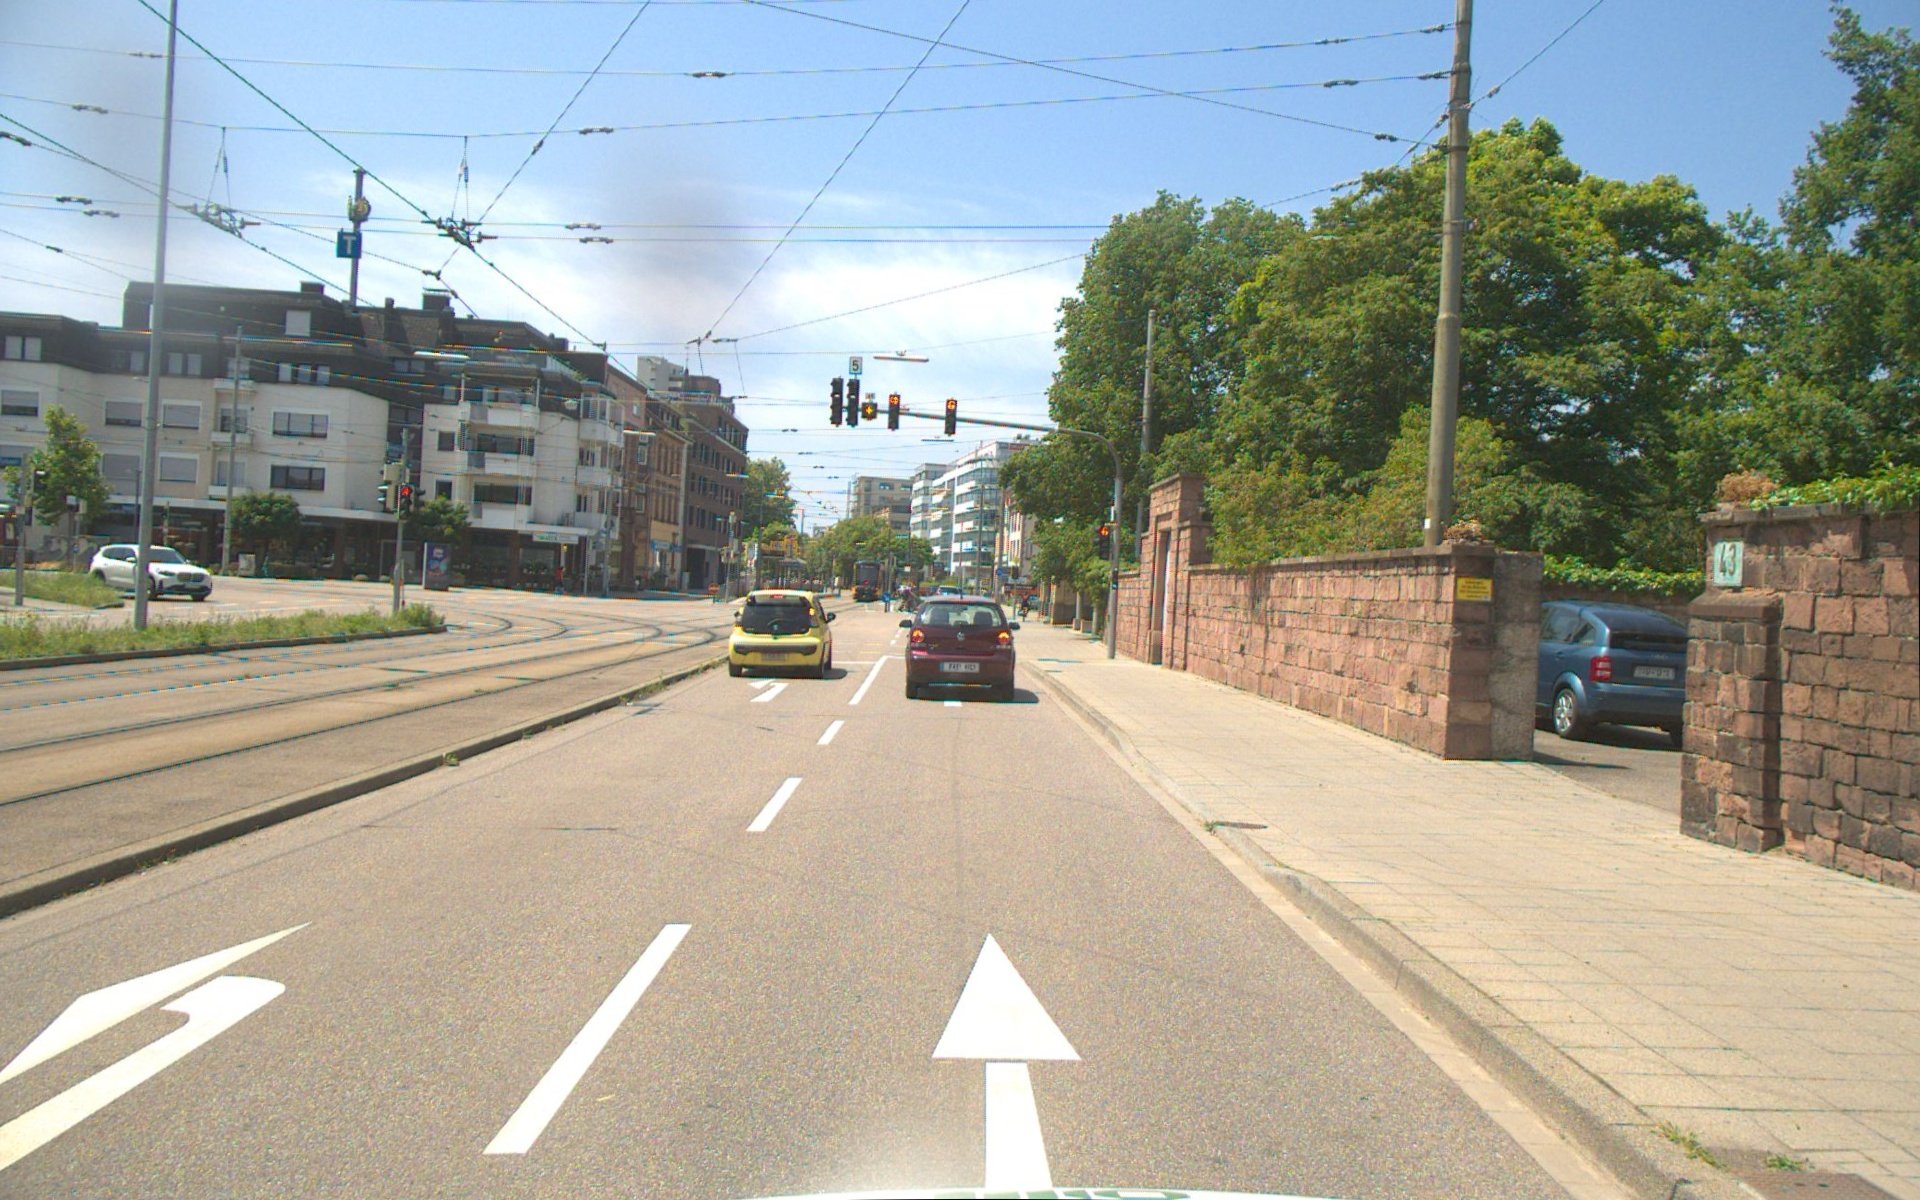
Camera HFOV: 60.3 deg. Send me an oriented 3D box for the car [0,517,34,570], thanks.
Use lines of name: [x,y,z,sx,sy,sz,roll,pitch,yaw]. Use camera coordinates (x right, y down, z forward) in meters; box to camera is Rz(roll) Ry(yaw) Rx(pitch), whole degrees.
car: [-46.606,-2.690,77.608,4.962,2.382,2.244,2,-1,-2]

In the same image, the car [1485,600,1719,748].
car: [7.512,0.810,19.618,1.451,1.508,2.943,3,0,-3]

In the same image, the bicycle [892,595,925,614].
bicycle: [-2.945,0.272,94.858,1.829,1.025,0.578,2,-1,-5]

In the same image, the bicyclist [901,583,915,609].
bicyclist: [-2.970,-0.238,94.843,0.751,1.430,0.506,2,-1,-4]

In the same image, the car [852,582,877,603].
car: [-8.134,-0.604,140.808,1.899,1.670,3.999,2,0,-1]

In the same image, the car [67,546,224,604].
car: [-24.920,-0.751,50.598,4.462,1.638,1.729,1,-1,22]

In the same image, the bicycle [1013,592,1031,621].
bicycle: [3.431,0.362,92.170,0.818,1.552,3.999,2,0,0]

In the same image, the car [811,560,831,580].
car: [-14.954,-3.206,178.087,1.700,2.048,4.000,3,0,0]

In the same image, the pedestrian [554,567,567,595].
pedestrian: [-22.985,-1.099,95.107,0.476,1.568,0.536,1,-1,37]

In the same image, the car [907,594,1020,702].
car: [0.019,0.662,25.162,1.577,1.489,4.085,1,0,-1]

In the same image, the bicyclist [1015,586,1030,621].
bicyclist: [3.431,0.197,90.881,0.707,1.850,0.888,2,-1,-1]

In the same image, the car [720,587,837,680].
car: [-3.105,0.544,28.824,1.688,1.470,3.292,1,1,-1]

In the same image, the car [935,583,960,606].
car: [-0.833,-0.373,108.132,1.540,1.440,3.719,1,0,-1]

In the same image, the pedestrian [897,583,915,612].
pedestrian: [-3.187,-0.145,97.240,0.962,1.690,0.918,3,0,-3]
